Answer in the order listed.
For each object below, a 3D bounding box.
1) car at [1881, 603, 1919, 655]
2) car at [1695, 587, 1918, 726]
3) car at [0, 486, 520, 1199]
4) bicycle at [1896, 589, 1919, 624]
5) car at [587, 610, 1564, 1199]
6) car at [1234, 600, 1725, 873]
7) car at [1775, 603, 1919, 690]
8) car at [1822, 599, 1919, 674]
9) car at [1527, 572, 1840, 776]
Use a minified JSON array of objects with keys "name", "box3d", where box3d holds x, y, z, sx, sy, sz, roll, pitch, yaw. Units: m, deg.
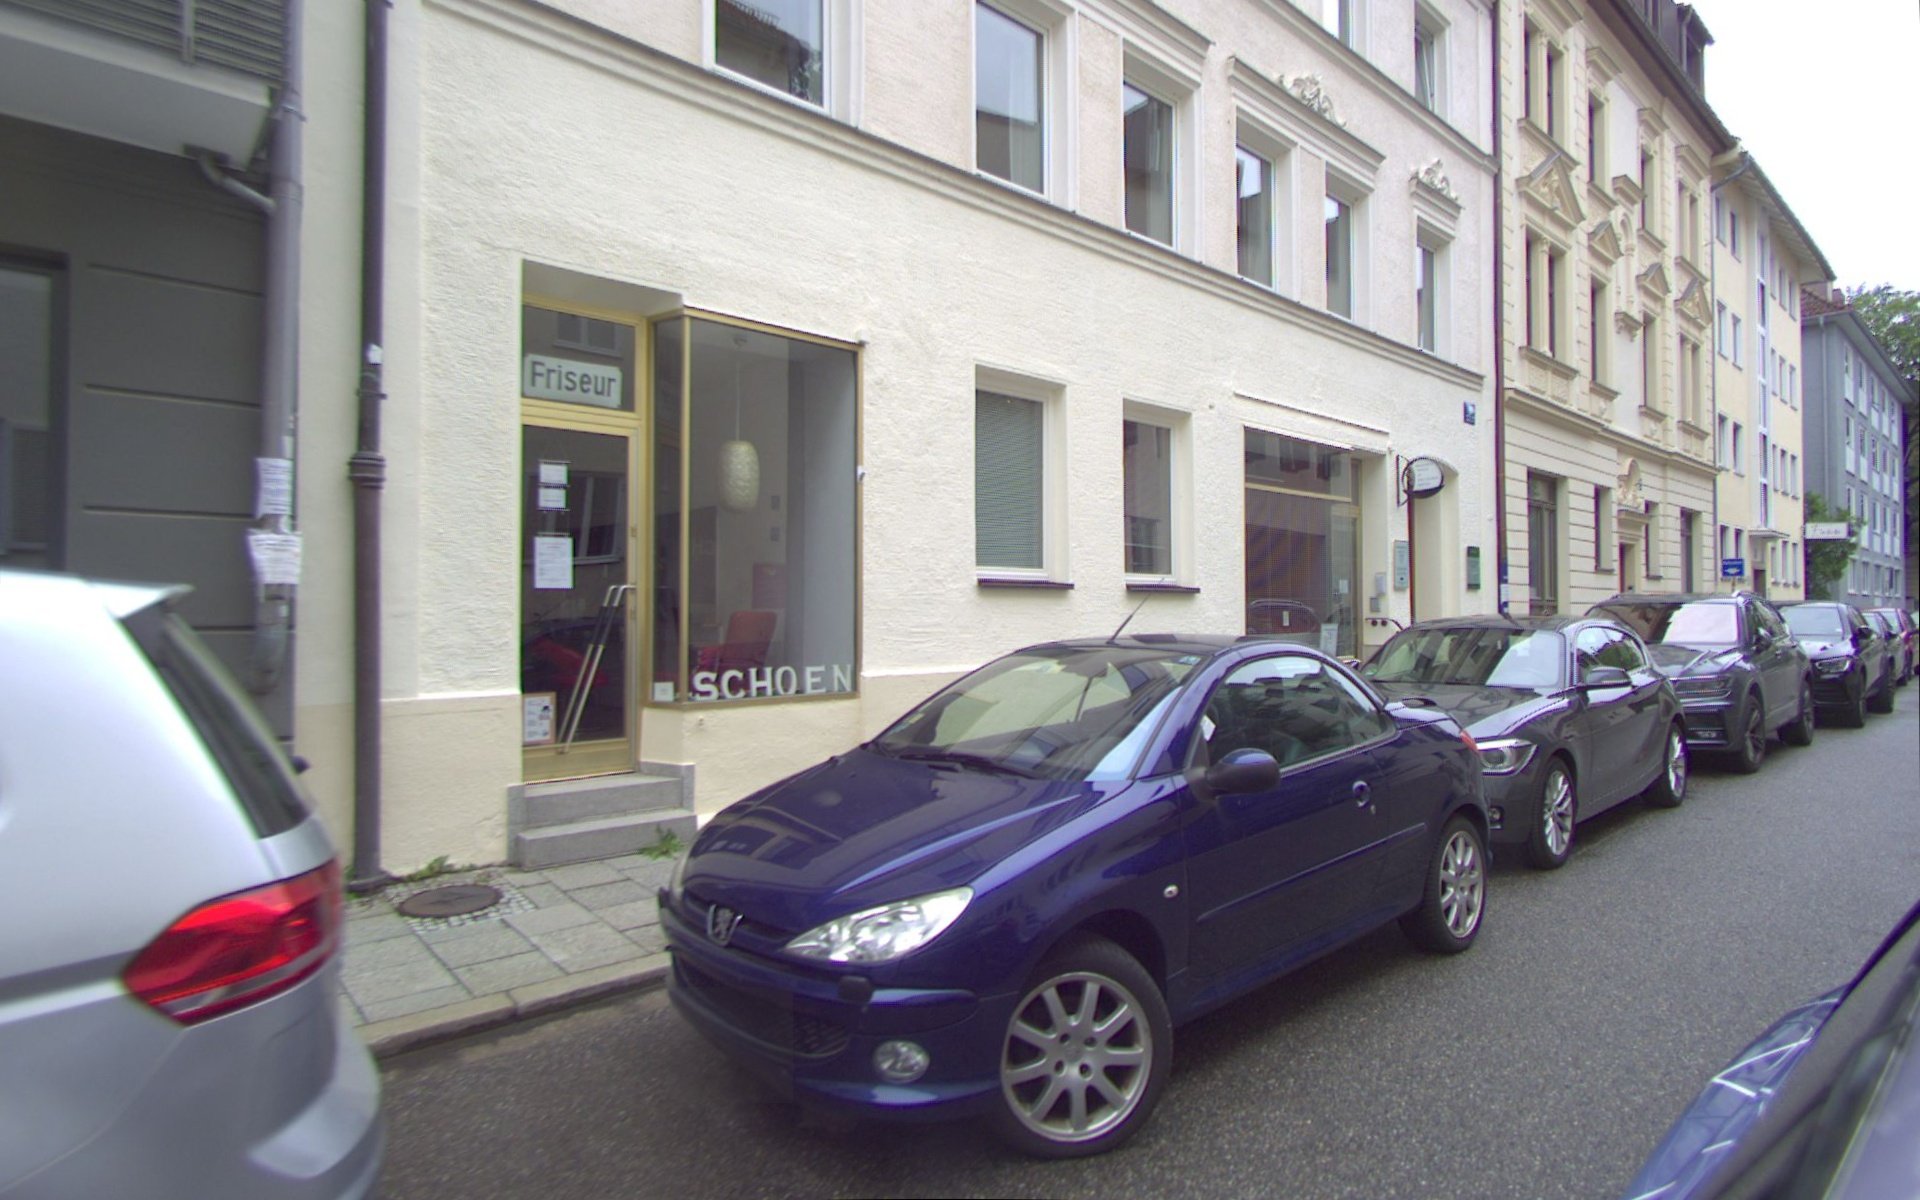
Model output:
[{"name":"car","box3d":[27.065,0.745,27.997,4.431,1.352,1.827,0,-4,-42]},{"name":"car","box3d":[11.789,0.670,13.979,4.603,1.627,1.704,0,-1,-42]},{"name":"car","box3d":[-2.943,0.634,0.988,4.243,1.590,1.877,0,1,-43]},{"name":"bicycle","box3d":[41.673,0.289,44.506,2.239,1.505,0.515,0,-1,-41]},{"name":"car","box3d":[0.750,0.757,4.105,3.876,1.380,1.811,0,0,-41]},{"name":"car","box3d":[3.962,0.704,7.355,4.274,1.403,1.802,0,0,-42]},{"name":"car","box3d":[16.394,0.770,18.509,3.995,1.411,1.678,0,-1,-42]},{"name":"car","box3d":[20.203,0.738,22.021,3.786,1.511,1.678,0,-1,-42]},{"name":"car","box3d":[7.591,0.620,10.444,4.434,1.682,1.678,0,-1,-42]}]
